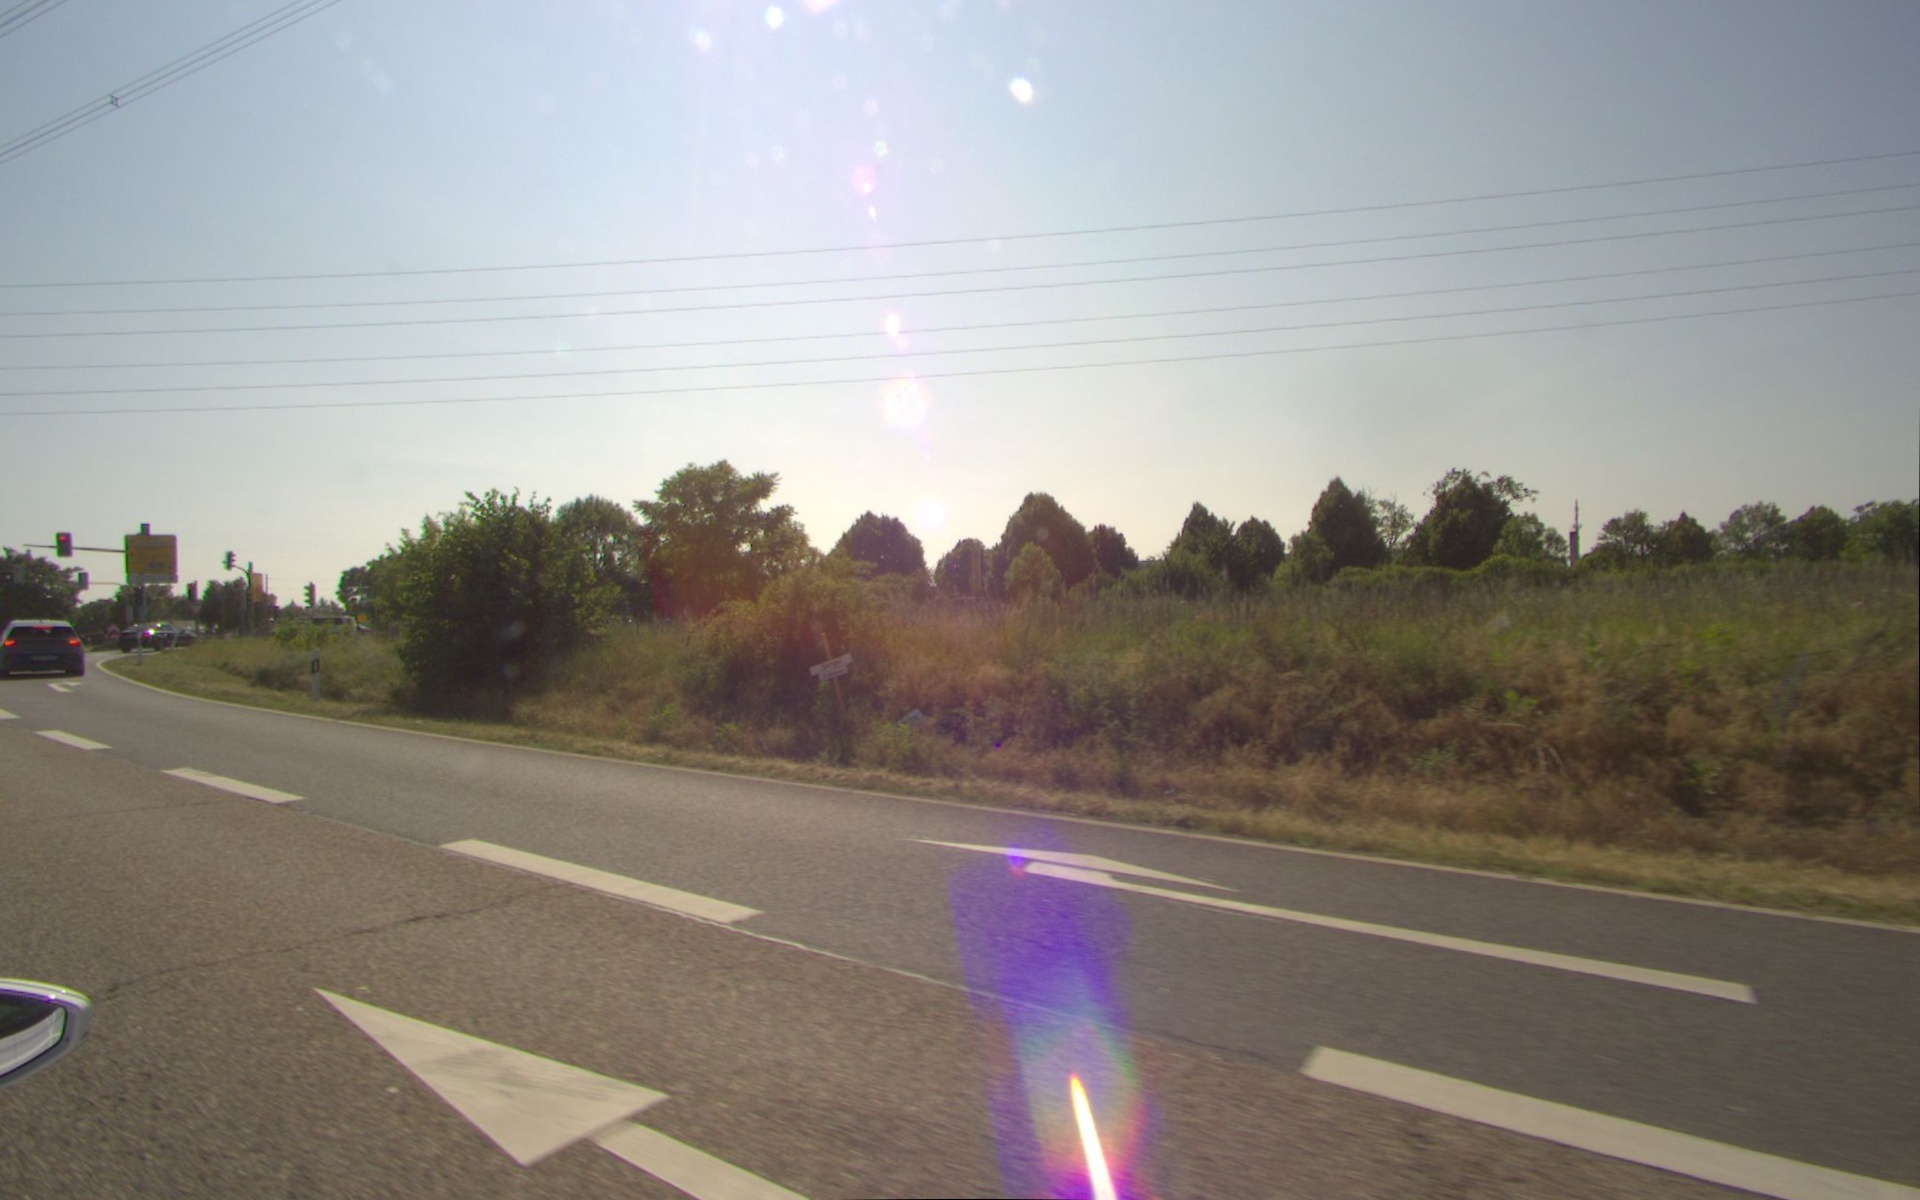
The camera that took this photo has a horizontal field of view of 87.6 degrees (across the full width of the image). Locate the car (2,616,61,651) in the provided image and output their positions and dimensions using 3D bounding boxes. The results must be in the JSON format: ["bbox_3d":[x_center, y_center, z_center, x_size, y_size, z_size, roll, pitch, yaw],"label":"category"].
[{"bbox_3d":[-46.496,1.668,50.214,1.617,1.698,3.726,0,-2,-34],"label":"car"}]

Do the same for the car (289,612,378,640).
[{"bbox_3d":[-43.643,1.799,69.894,4.856,1.943,1.998,0,-1,-12],"label":"car"}]

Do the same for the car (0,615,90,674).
[{"bbox_3d":[-25.822,1.203,28.157,4.057,1.537,1.762,-1,-1,44],"label":"car"}]

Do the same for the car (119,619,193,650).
[{"bbox_3d":[-41.095,1.734,51.287,1.618,1.404,3.992,-1,0,-18],"label":"car"}]

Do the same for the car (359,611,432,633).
[{"bbox_3d":[-41.337,1.611,73.447,4.255,1.539,1.806,-1,-1,-12],"label":"car"}]
